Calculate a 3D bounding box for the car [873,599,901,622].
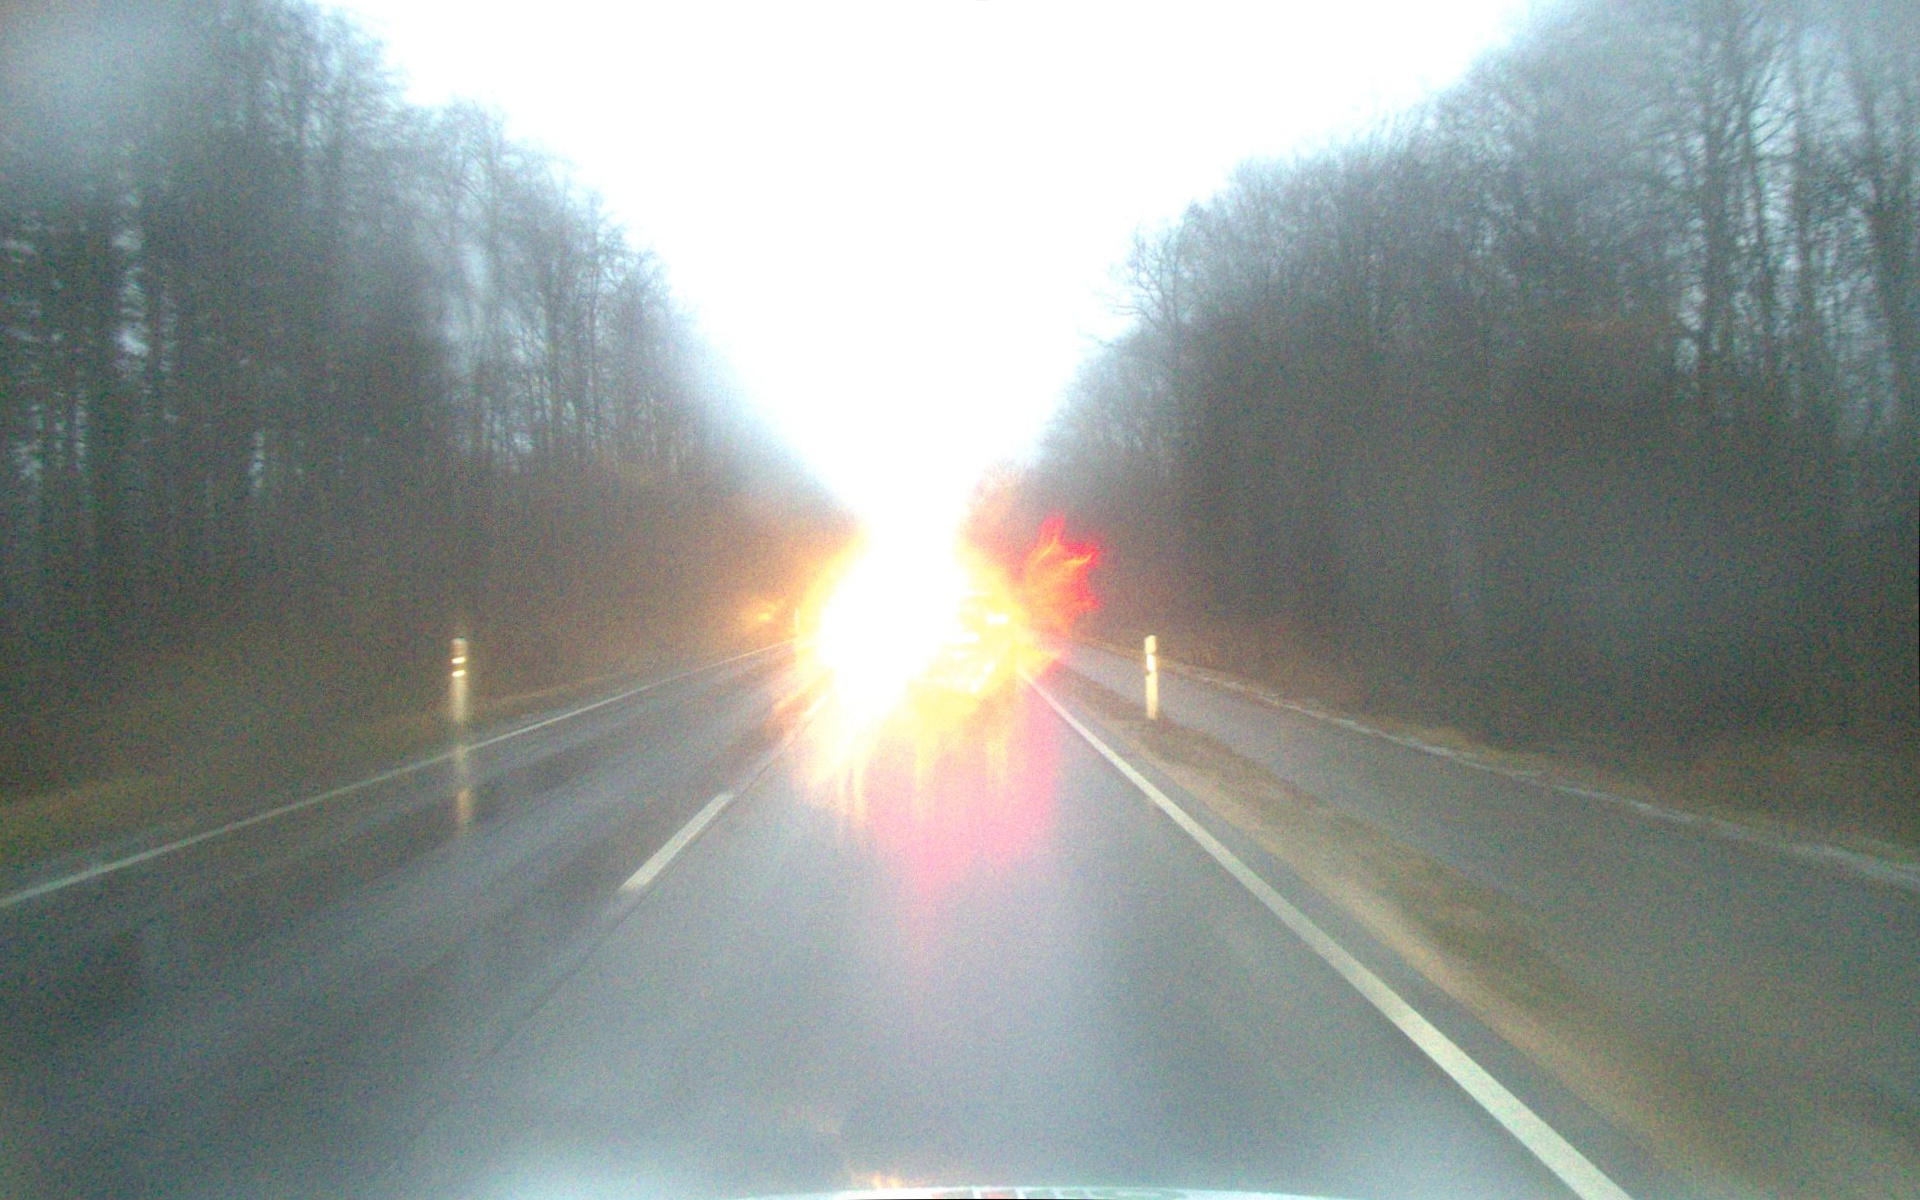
[{"bbox_3d":[-5.086,0.719,115.334,1.762,1.487,4.176,-2,0,-1],"label":"car"}]
